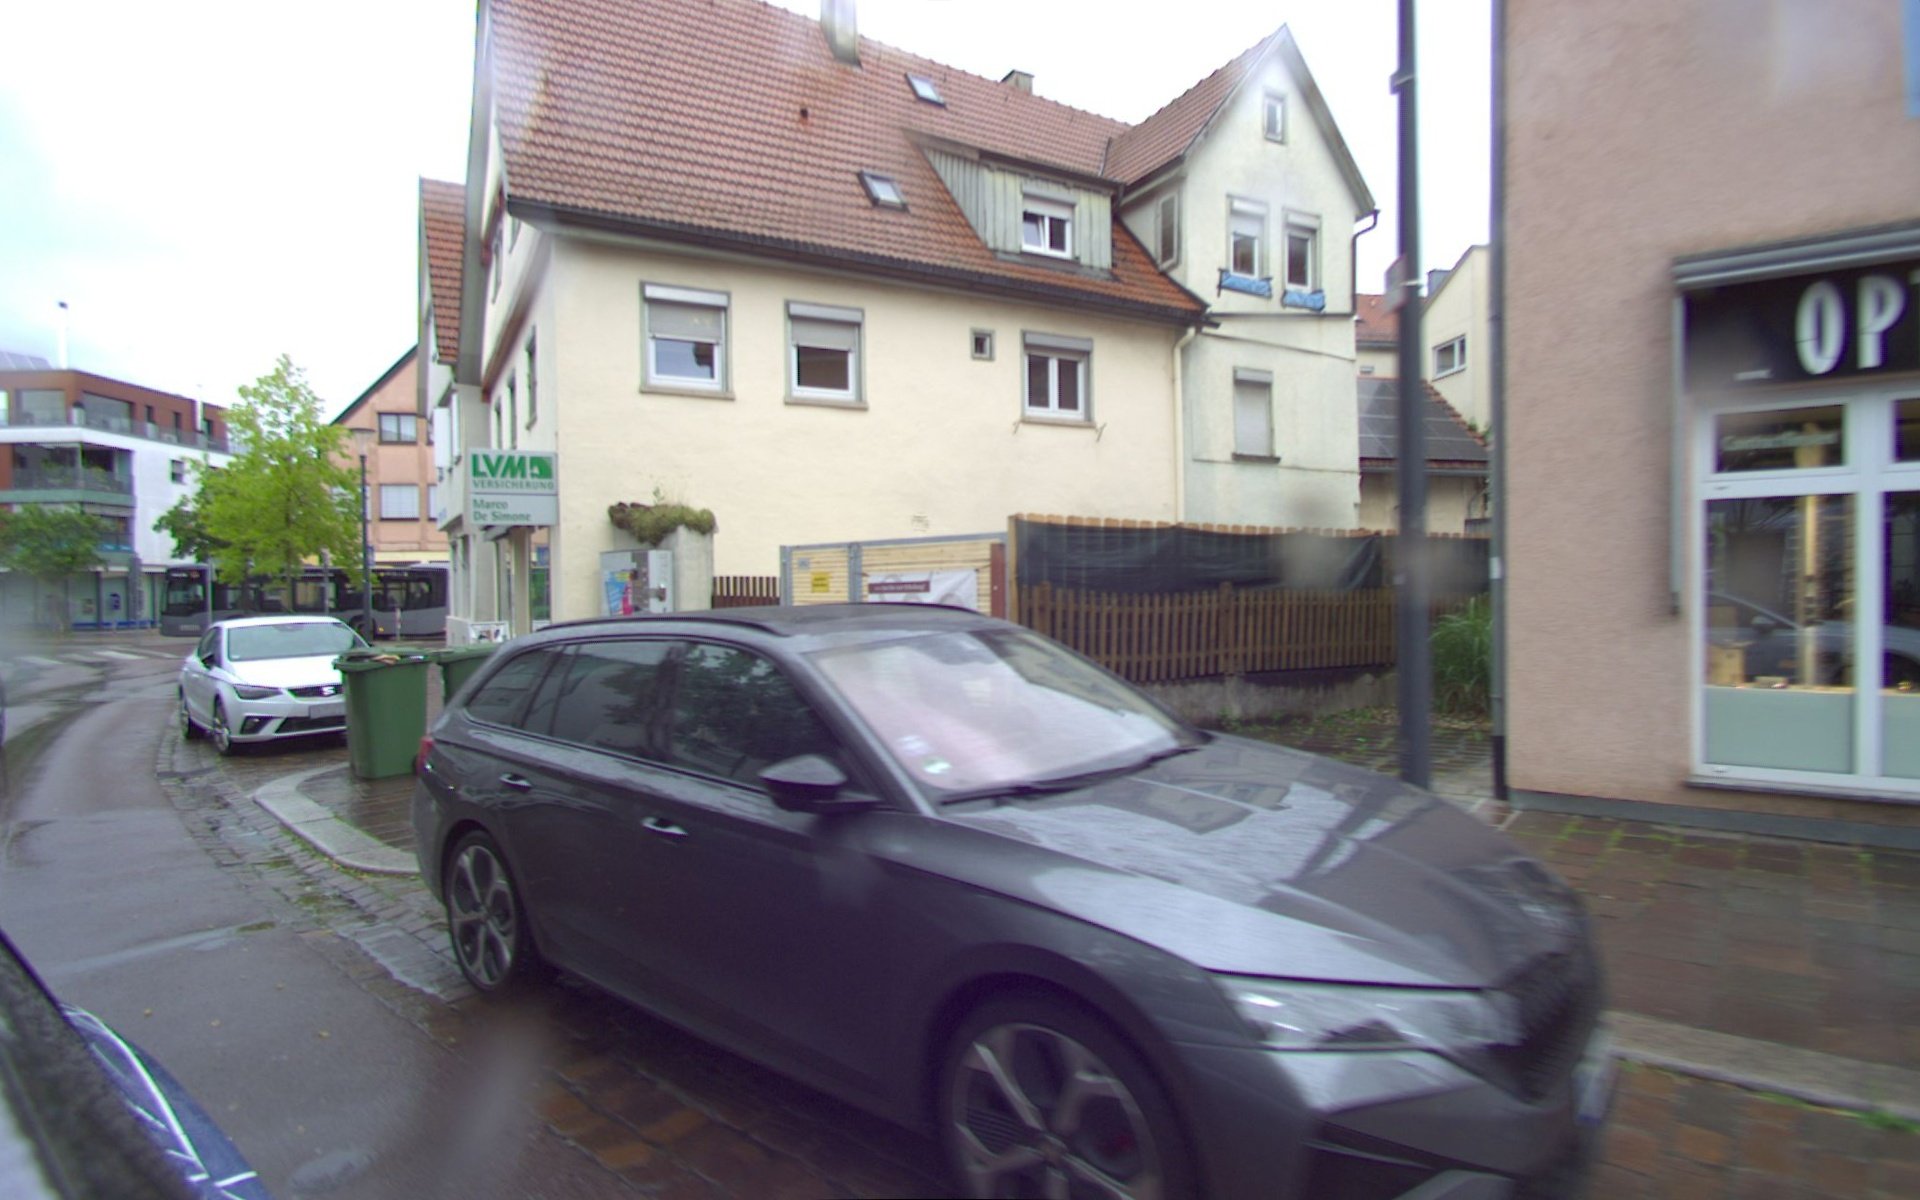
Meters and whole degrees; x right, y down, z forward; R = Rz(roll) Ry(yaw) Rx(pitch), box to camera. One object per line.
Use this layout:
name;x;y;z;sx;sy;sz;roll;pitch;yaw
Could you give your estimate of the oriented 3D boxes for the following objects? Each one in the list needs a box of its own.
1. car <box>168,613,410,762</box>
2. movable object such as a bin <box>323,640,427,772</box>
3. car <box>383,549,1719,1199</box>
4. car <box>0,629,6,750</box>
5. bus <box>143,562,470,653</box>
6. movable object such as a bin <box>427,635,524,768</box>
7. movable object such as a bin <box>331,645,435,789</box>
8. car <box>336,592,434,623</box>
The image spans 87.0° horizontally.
car;-7.979;0.907;11.891;1.670;1.433;3.819;0;-1;-45
movable object such as a bin;-5.365;0.942;9.283;0.683;1.095;0.547;-3;2;-42
car;-0.107;0.663;3.570;4.371;1.465;1.973;0;0;40
car;-10.887;1.028;9.644;1.967;1.417;4.905;-2;0;-36
bus;-25.213;0.232;39.652;10.517;3.325;2.686;0;0;-12
movable object such as a bin;-4.407;0.892;9.207;0.651;1.117;0.624;0;0;-42
movable object such as a bin;-4.926;0.965;8.638;0.651;1.117;0.624;0;0;-42
car;-29.003;0.371;51.195;3.933;1.497;2.005;0;0;-14
